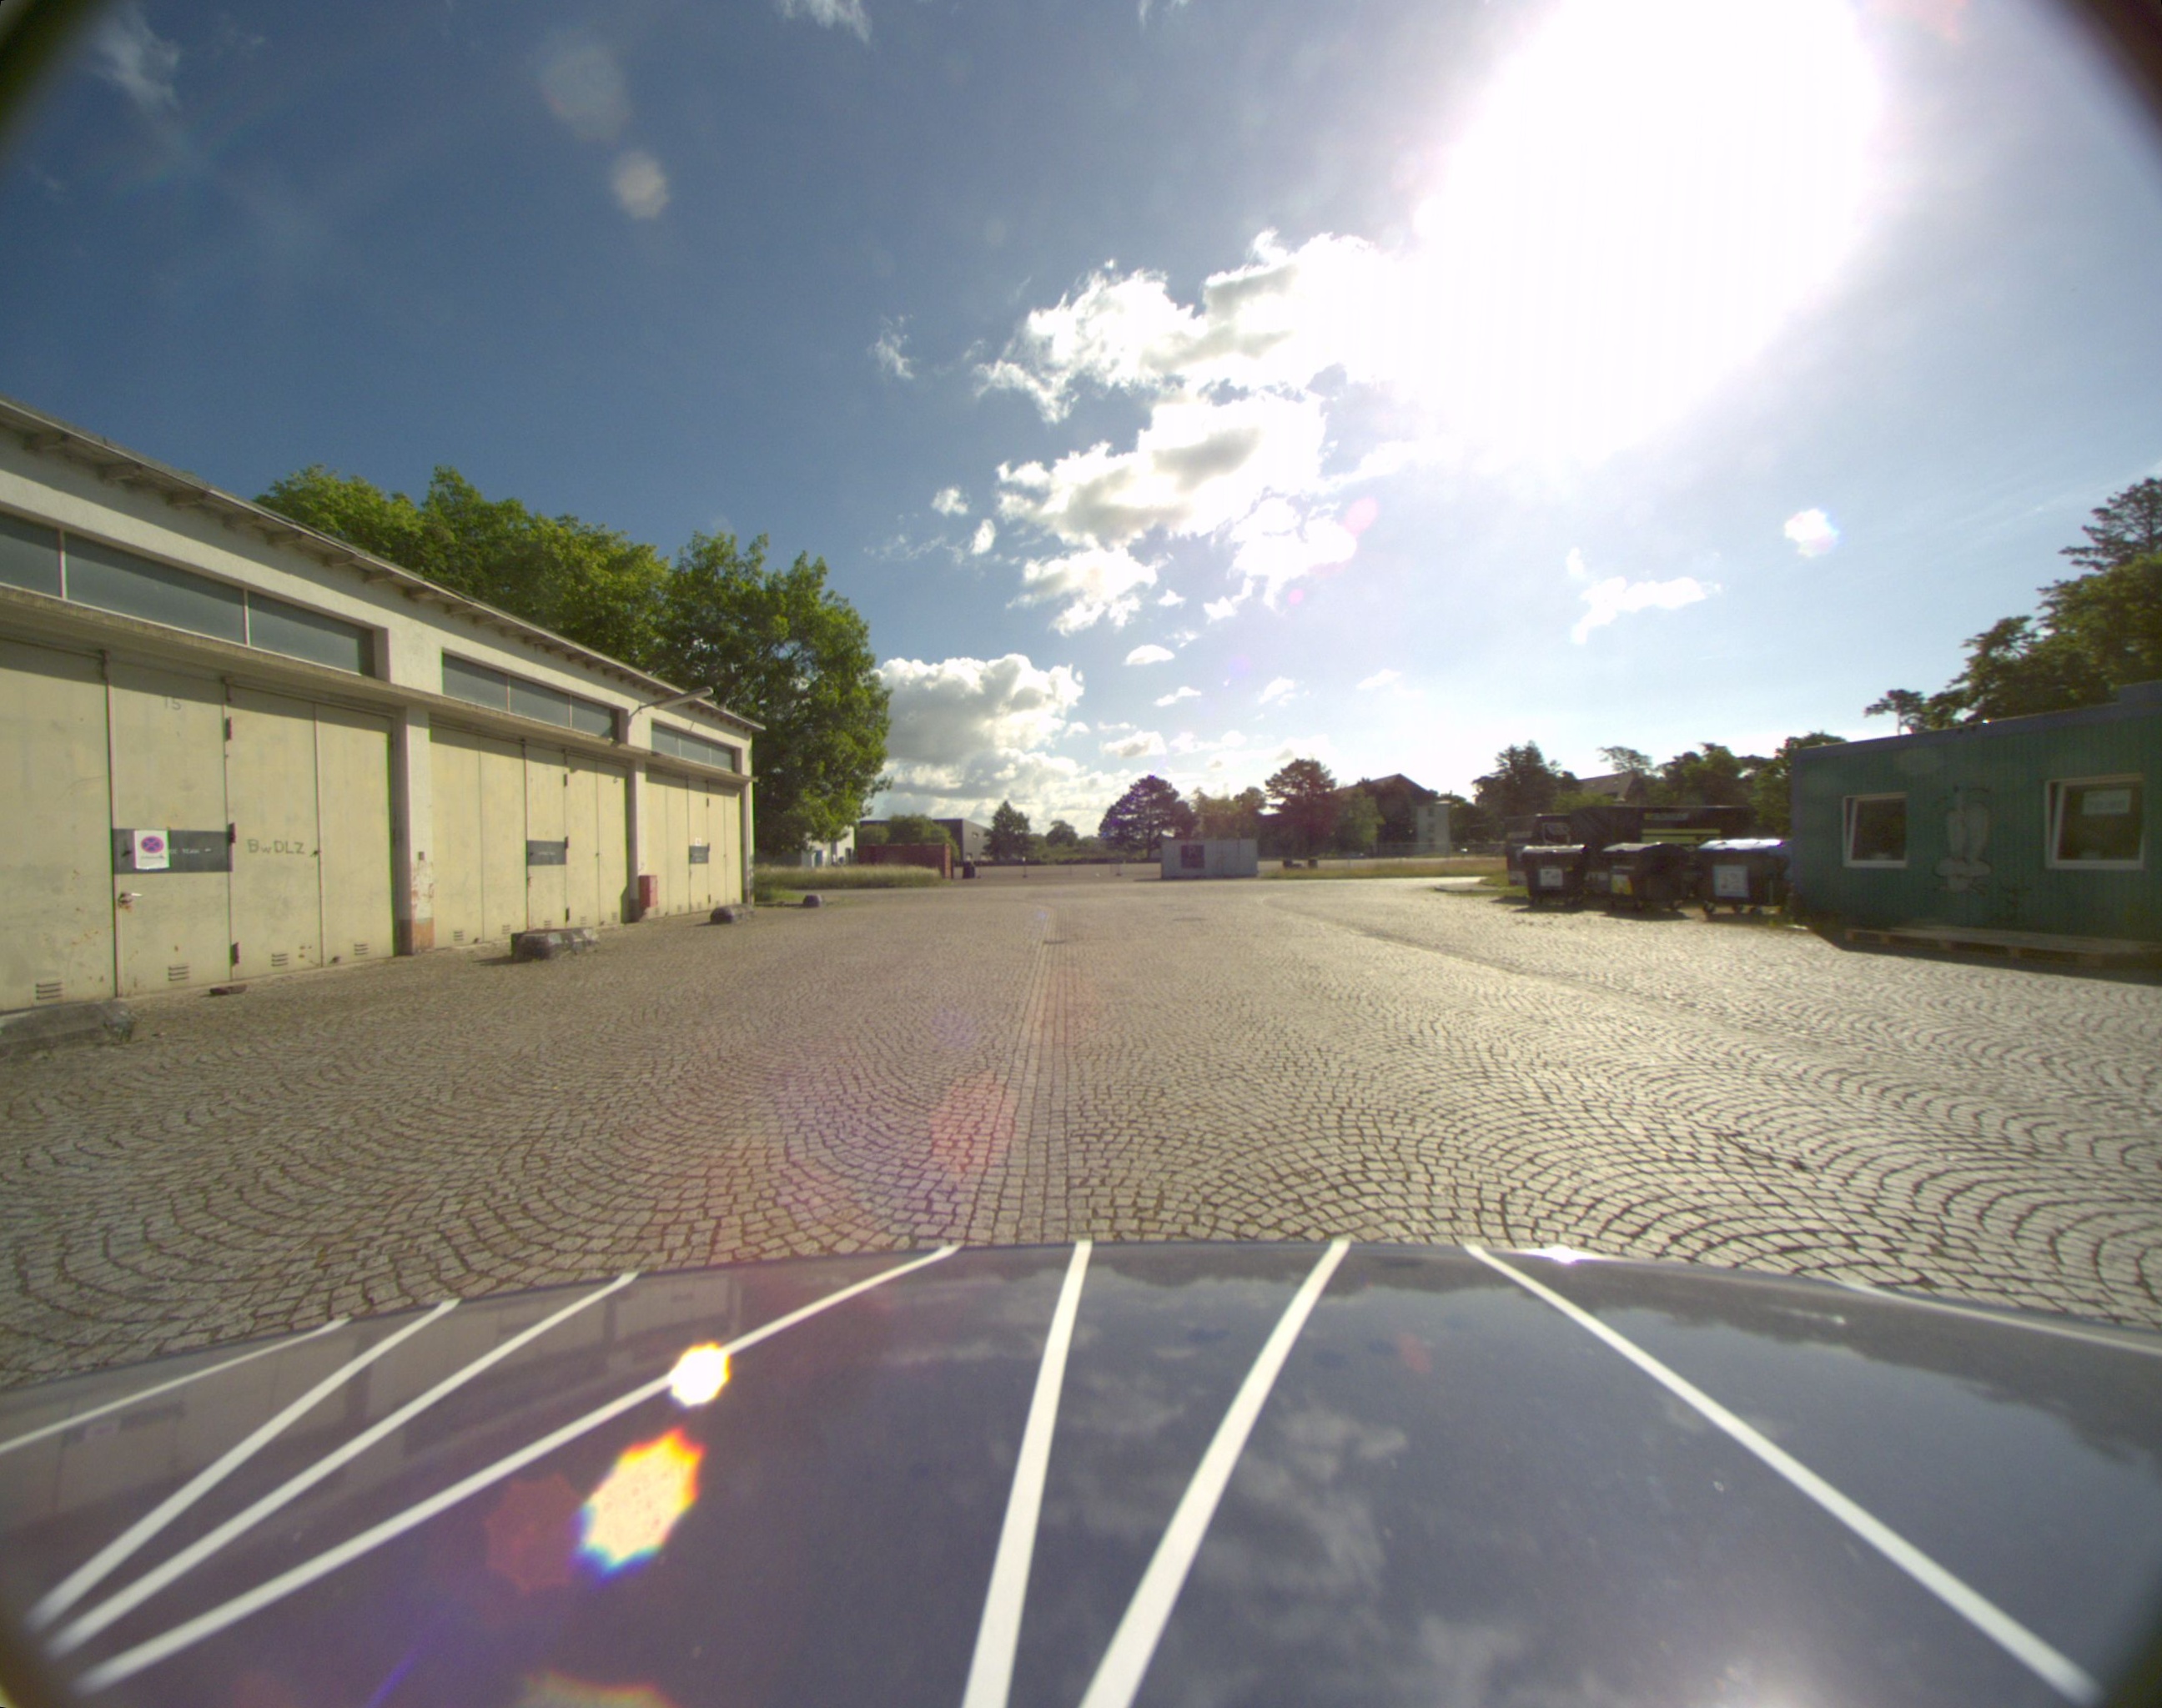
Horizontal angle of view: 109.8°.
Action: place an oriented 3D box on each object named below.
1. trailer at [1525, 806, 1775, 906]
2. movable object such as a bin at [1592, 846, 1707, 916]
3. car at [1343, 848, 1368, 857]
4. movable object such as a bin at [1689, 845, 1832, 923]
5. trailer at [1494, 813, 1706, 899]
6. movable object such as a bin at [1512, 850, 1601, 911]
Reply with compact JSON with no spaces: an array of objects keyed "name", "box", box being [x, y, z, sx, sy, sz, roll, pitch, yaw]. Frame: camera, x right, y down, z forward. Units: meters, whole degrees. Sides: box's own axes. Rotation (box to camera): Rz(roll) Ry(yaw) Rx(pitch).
[{"name":"trailer","box":[14.433,0.043,19.464,4.973,2.341,2.095,-1,0,-5]},{"name":"movable object such as a bin","box":[12.073,0.552,16.220,1.299,1.414,1.536,-1,0,0]},{"name":"car","box":[51.067,-0.225,141.344,3.999,1.573,1.999,-1,1,-5]},{"name":"movable object such as a bin","box":[12.994,0.541,14.592,1.386,1.378,1.534,-1,0,-13]},{"name":"trailer","box":[14.849,0.057,21.958,4.667,2.284,2.137,-1,0,0]},{"name":"movable object such as a bin","box":[11.483,0.604,18.352,1.531,1.378,1.389,-1,1,45]}]
